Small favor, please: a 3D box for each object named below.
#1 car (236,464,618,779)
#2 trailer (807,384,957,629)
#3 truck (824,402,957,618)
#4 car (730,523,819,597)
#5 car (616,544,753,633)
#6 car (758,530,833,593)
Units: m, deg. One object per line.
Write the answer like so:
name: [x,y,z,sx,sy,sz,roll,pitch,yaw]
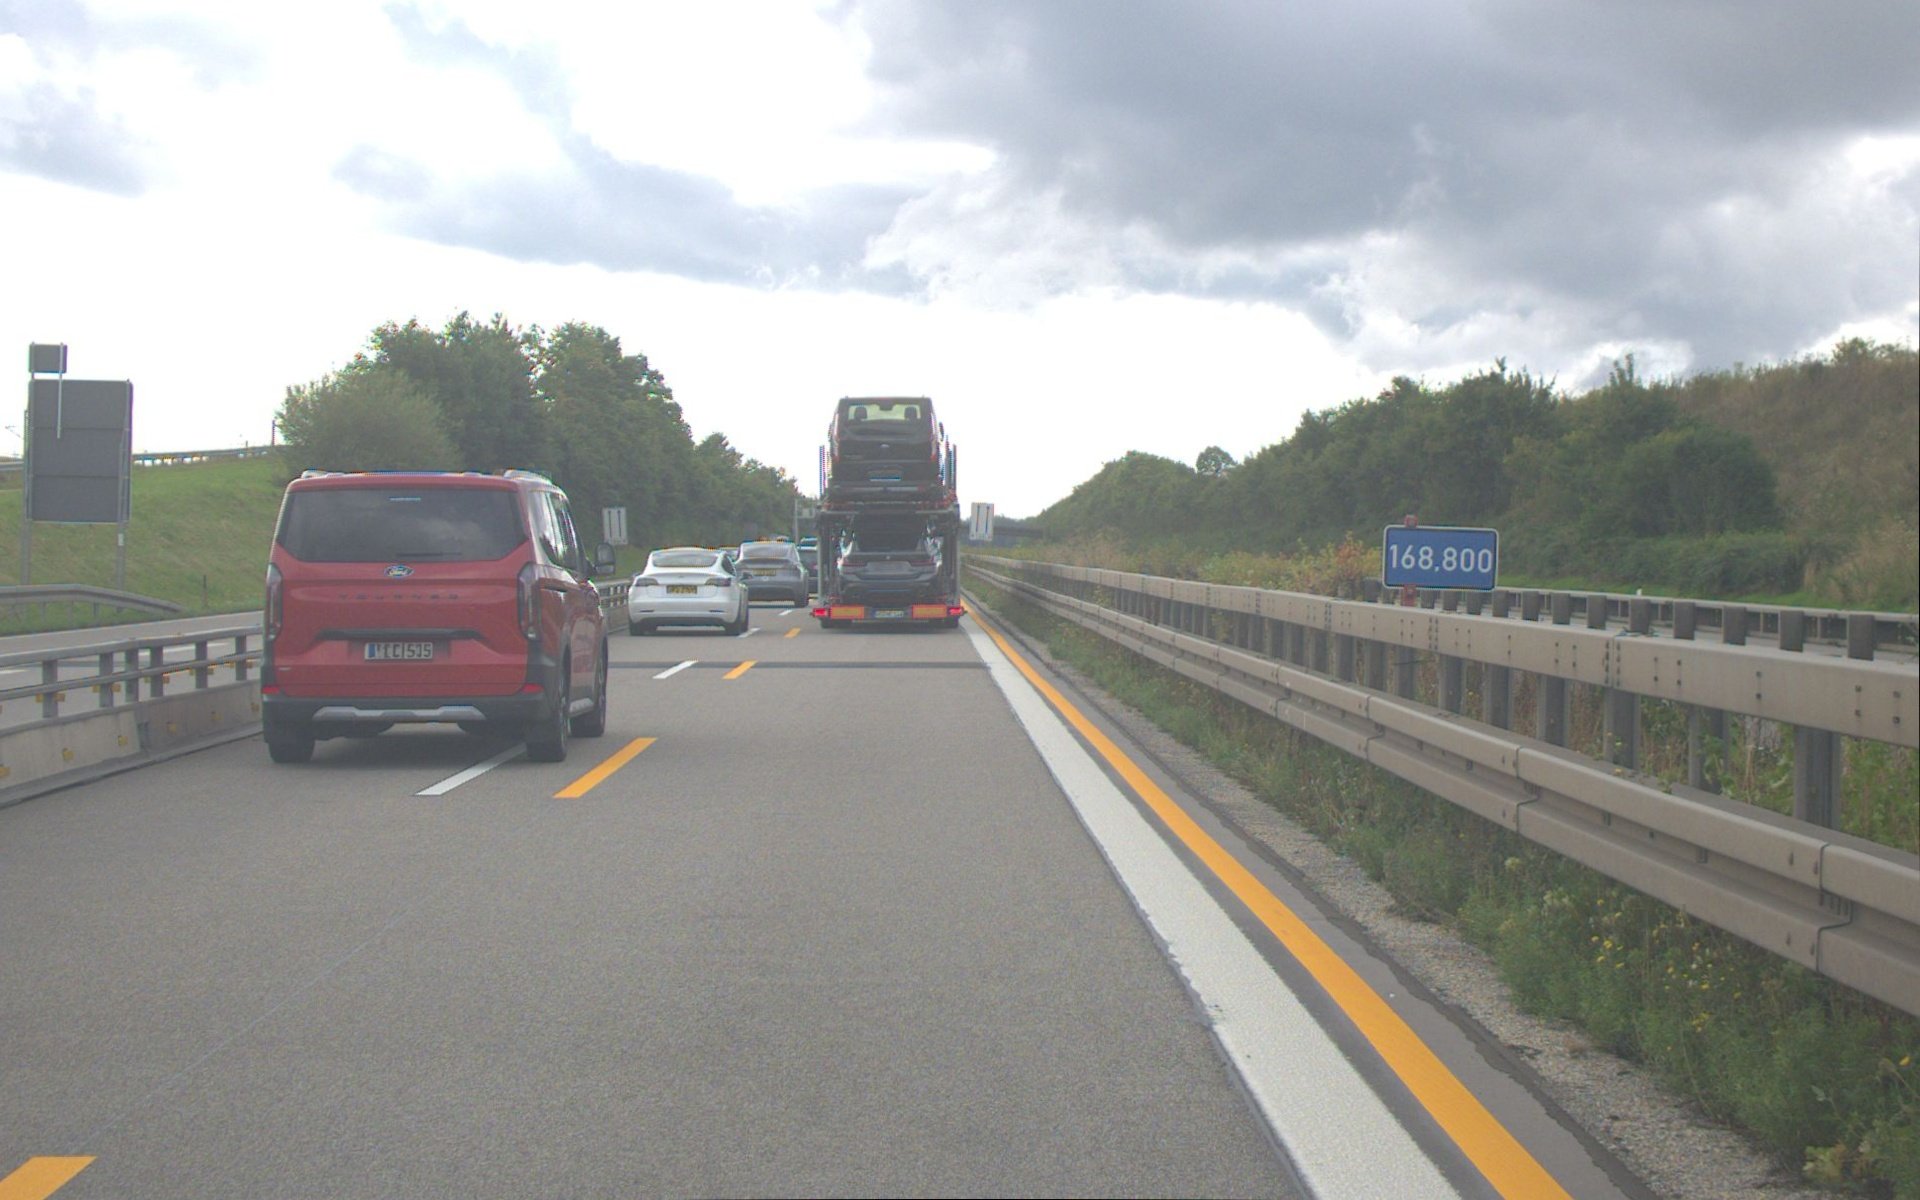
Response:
car: [-3.644,0.098,24.345,2.031,2.007,4.578,0,1,-1]
trailer: [-1.307,-1.651,62.972,2.515,4.091,11.114,0,1,0]
truck: [-1.313,-1.749,67.868,2.515,4.091,5.685,0,1,0]
car: [-4.536,-1.004,84.656,2.031,1.751,4.578,0,1,-1]
car: [-4.616,-0.222,58.161,2.031,1.426,4.578,0,1,-1]
car: [-4.674,-1.119,98.100,2.031,1.751,4.578,0,1,-2]
